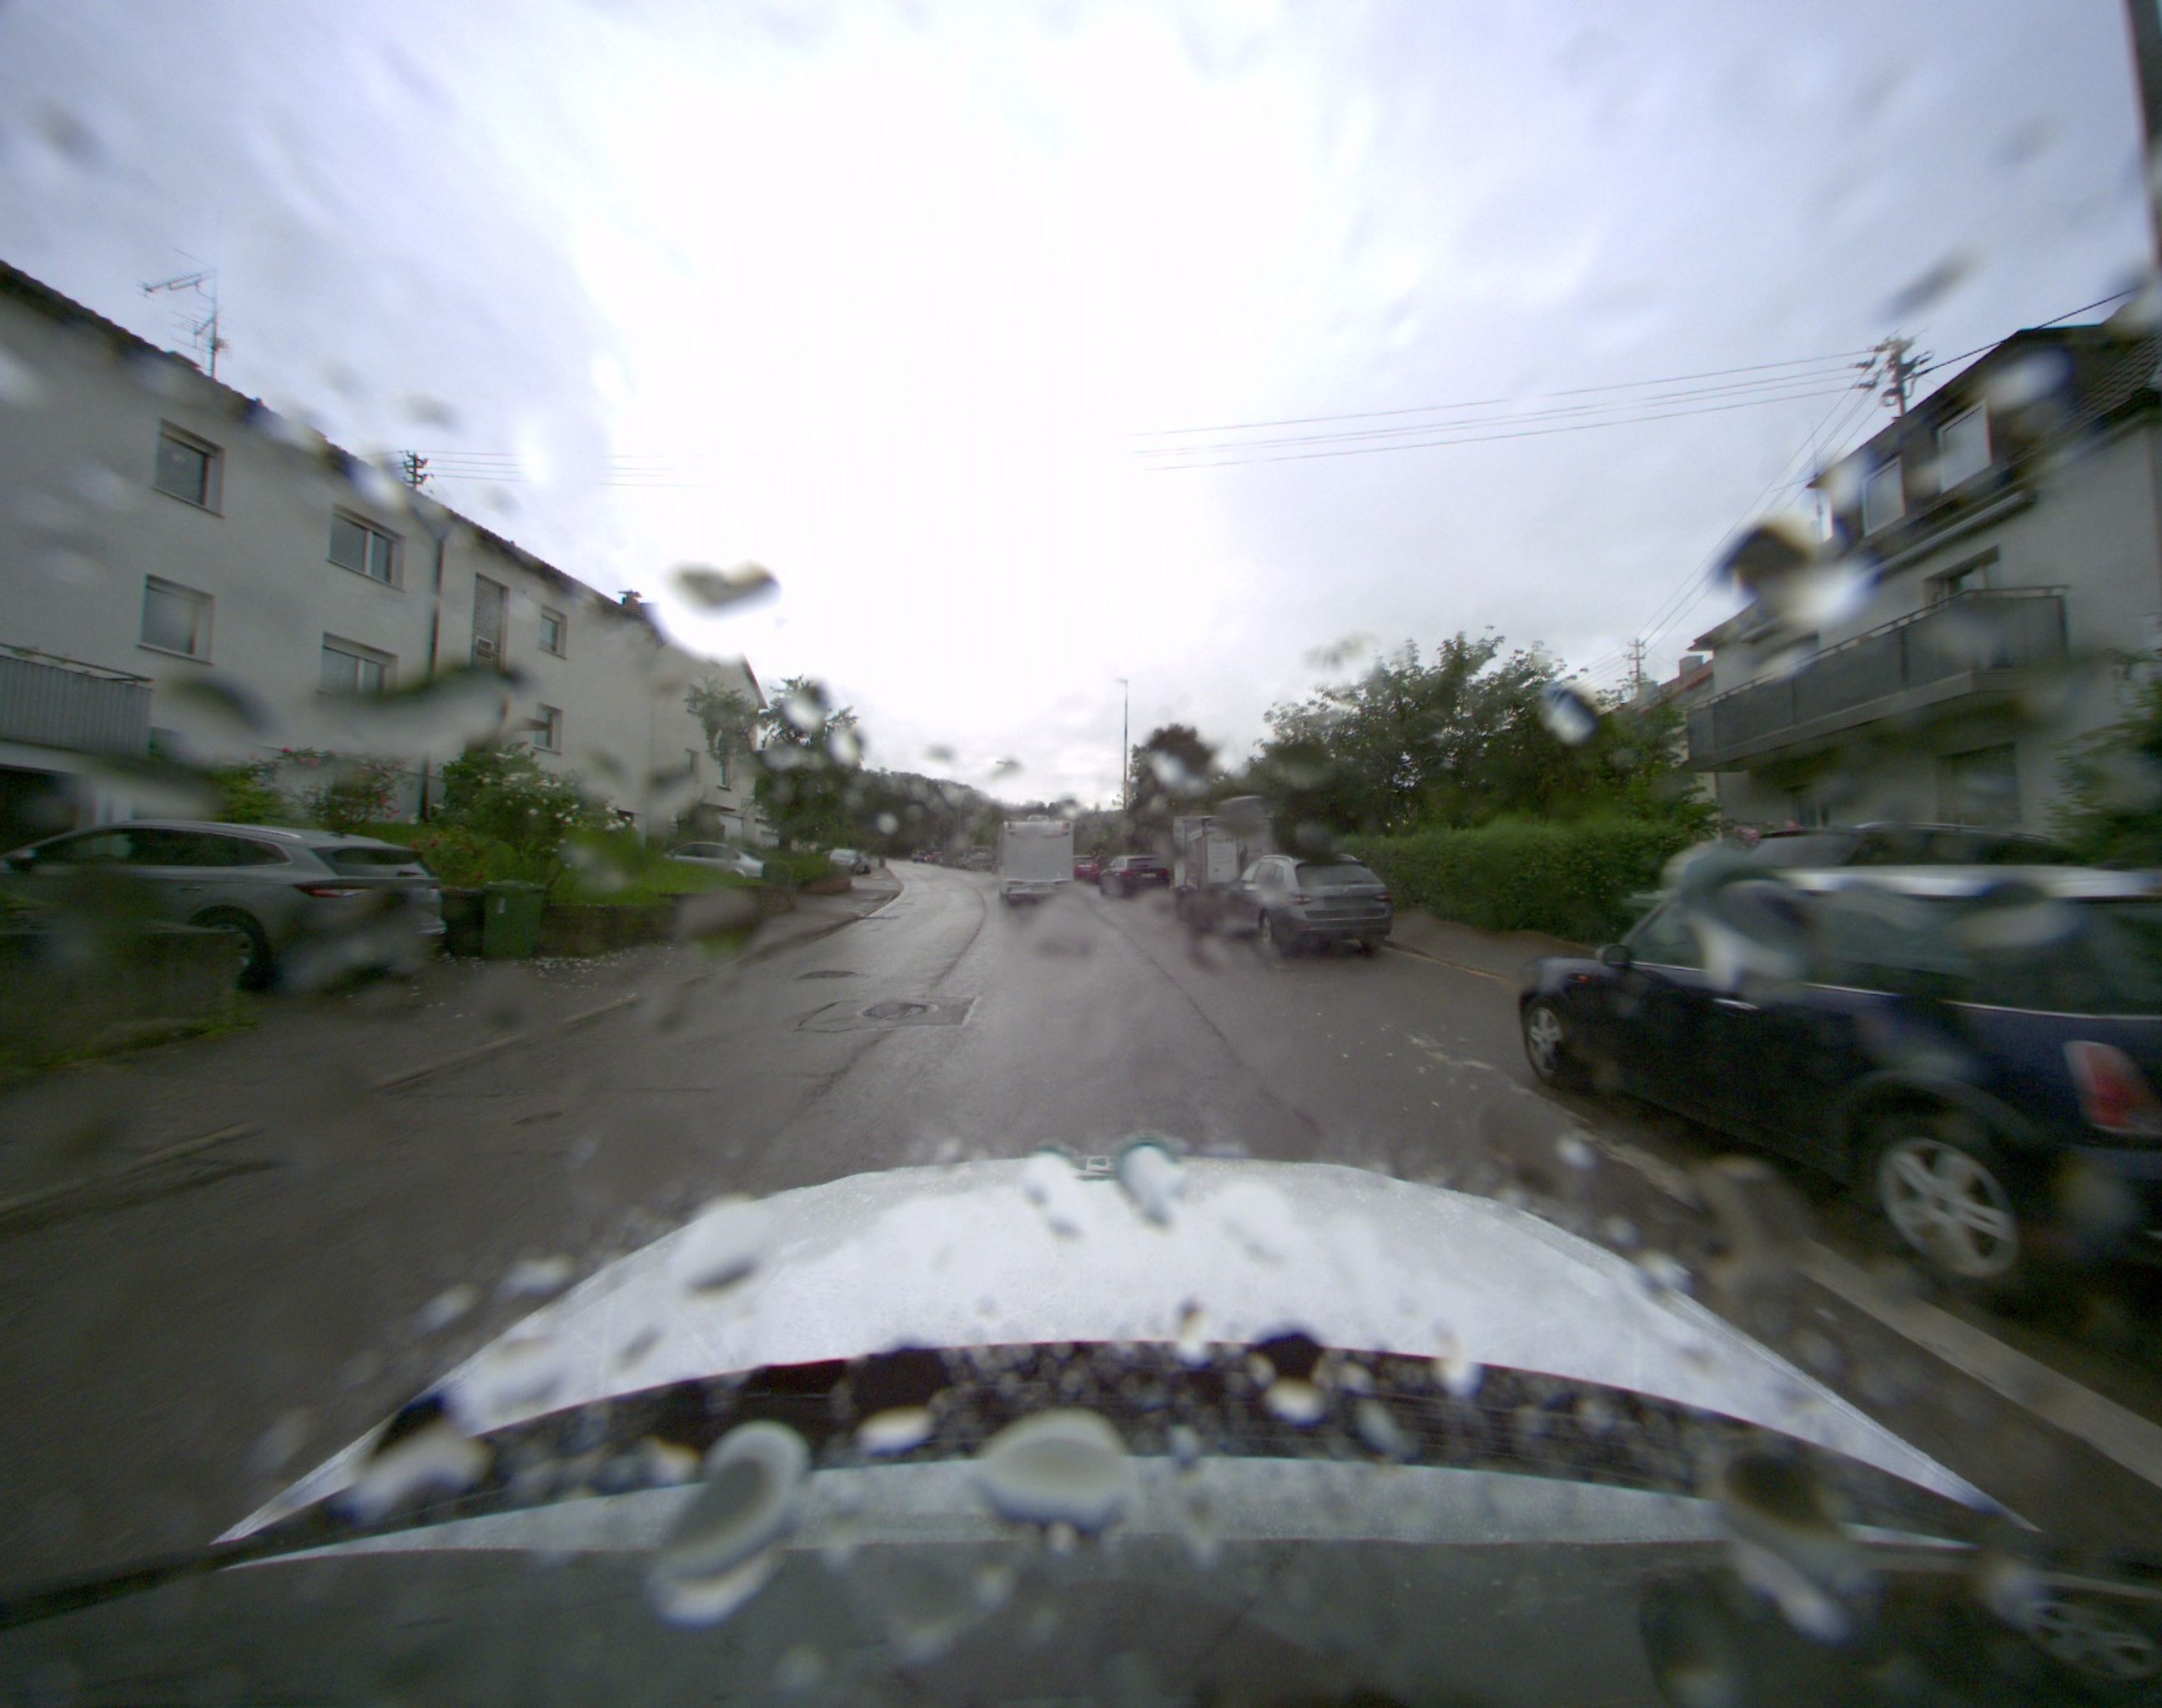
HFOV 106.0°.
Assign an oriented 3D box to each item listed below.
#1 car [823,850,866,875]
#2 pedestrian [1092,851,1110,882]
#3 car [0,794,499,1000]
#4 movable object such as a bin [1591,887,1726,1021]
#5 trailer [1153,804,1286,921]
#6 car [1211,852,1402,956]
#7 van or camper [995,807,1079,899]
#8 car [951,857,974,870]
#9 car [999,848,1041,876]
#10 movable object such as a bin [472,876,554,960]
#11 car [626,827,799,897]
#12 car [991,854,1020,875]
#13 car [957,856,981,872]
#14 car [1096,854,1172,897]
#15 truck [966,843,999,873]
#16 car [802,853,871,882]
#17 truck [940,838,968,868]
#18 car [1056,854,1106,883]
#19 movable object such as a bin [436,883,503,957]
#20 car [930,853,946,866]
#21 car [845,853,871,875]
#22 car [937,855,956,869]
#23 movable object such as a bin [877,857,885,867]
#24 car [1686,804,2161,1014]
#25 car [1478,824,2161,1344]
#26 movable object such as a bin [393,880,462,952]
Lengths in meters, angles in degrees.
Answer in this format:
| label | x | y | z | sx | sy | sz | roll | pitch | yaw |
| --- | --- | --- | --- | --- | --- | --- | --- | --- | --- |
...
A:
| label | x | y | z | sx | sy | sz | roll | pitch | yaw |
| --- | --- | --- | --- | --- | --- | --- | --- | --- | --- |
| car | -14.051 | 0.513 | 48.556 | 1.765 | 1.376 | 4.235 | 3 | -1 | -8 |
| pedestrian | 1.072 | 0.667 | 43.302 | 0.708 | 1.635 | 0.713 | 0 | 0 | -24 |
| car | -9.437 | 0.401 | 8.935 | 4.496 | 1.614 | 1.931 | 6 | -1 | -1 |
| movable object such as a bin | 5.071 | 0.855 | 7.192 | 0.700 | 1.097 | 0.701 | 0 | 0 | -1 |
| trailer | 3.185 | 0.190 | 19.974 | 1.945 | 2.456 | 5.426 | -1 | 0 | -4 |
| car | 3.547 | 0.717 | 13.793 | 1.743 | 1.424 | 4.699 | -1 | 0 | -2 |
| van or camper | -1.665 | 0.079 | 28.616 | 2.612 | 2.853 | 6.018 | 1 | -2 | -6 |
| car | -13.135 | 1.059 | 90.038 | 1.836 | 1.438 | 4.959 | 0 | 0 | -16 |
| car | -4.368 | 0.589 | 57.502 | 1.853 | 1.882 | 4.881 | 0 | 0 | -18 |
| movable object such as a bin | -7.931 | 0.881 | 11.399 | 0.536 | 1.075 | 0.742 | 6 | -1 | -3 |
| car | -10.991 | 0.243 | 24.446 | 4.233 | 1.431 | 1.768 | 9 | -1 | 4 |
| car | -5.867 | 0.782 | 63.188 | 1.650 | 1.563 | 3.944 | 0 | 0 | -14 |
| car | -11.261 | 1.003 | 81.647 | 1.763 | 1.604 | 4.641 | 0 | 0 | -16 |
| car | 1.879 | 0.735 | 30.464 | 1.793 | 1.459 | 4.772 | -1 | 0 | -10 |
| truck | -9.206 | 0.376 | 75.390 | 2.242 | 2.631 | 6.506 | 0 | 0 | -14 |
| car | -15.961 | 0.865 | 53.192 | 3.816 | 1.477 | 1.803 | -6 | 0 | -1 |
| truck | -15.202 | -0.073 | 97.075 | 2.441 | 3.335 | 7.923 | 0 | 0 | -15 |
| car | -0.042 | 0.729 | 41.799 | 1.737 | 1.414 | 3.834 | -1 | 0 | -13 |
| movable object such as a bin | -8.475 | 0.902 | 11.305 | 0.467 | 0.953 | 0.495 | 5 | -1 | 1 |
| car | -19.732 | 0.781 | 112.521 | 1.939 | 1.672 | 4.672 | 0 | 0 | -13 |
| car | -17.025 | 0.766 | 62.161 | 1.806 | 1.597 | 4.394 | 0 | 0 | -15 |
| car | -17.452 | 1.000 | 105.181 | 1.849 | 1.683 | 5.609 | 0 | 0 | -15 |
| movable object such as a bin | -18.966 | 0.796 | 77.290 | 0.604 | 0.928 | 0.560 | 2 | -1 | -20 |
| car | 8.715 | 0.512 | 8.094 | 3.987 | 1.688 | 1.779 | 3 | 0 | 3 |
| car | 3.697 | 0.648 | 4.133 | 1.627 | 1.457 | 3.702 | -1 | 0 | 1 |
| movable object such as a bin | -9.075 | 0.850 | 11.320 | 0.483 | 0.925 | 0.495 | 5 | -1 | 1 |
